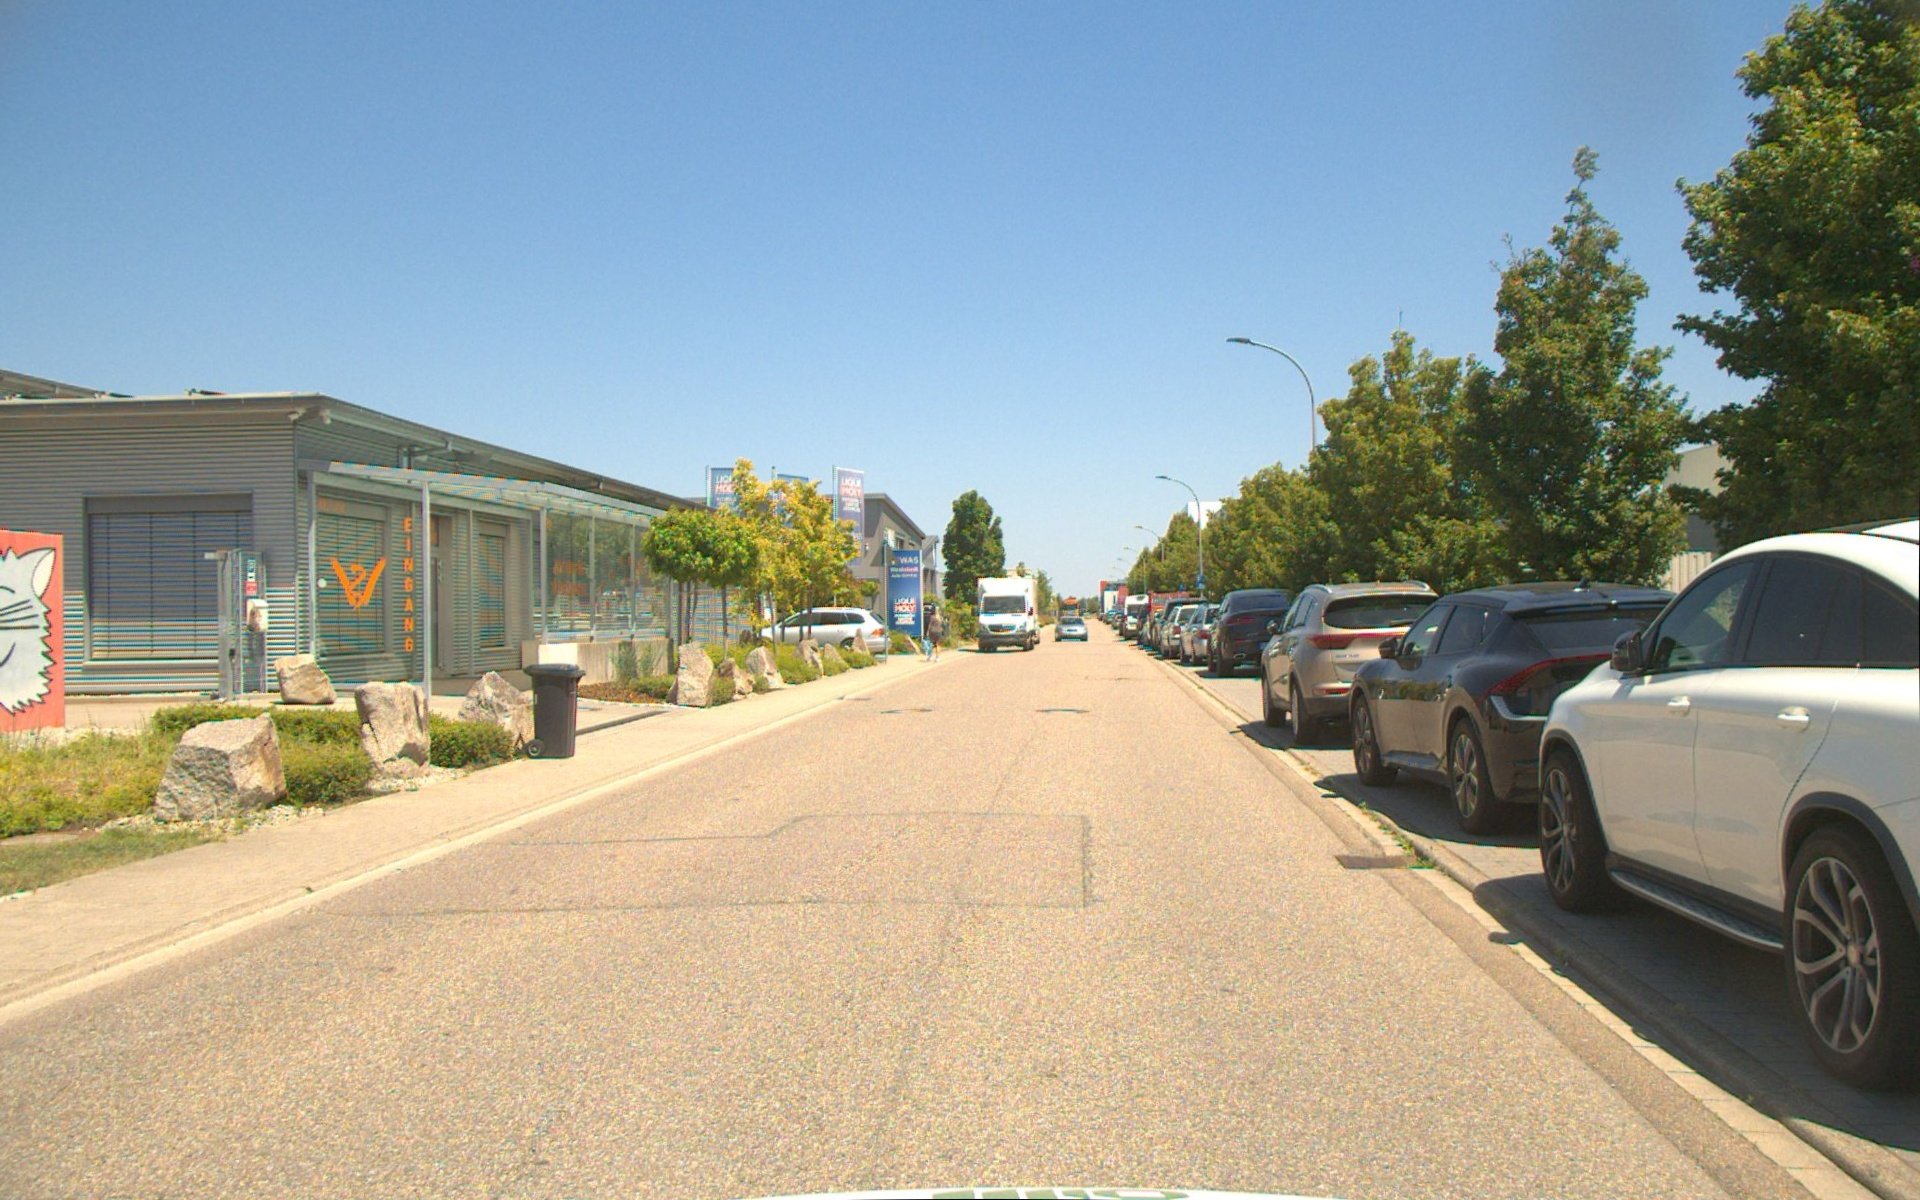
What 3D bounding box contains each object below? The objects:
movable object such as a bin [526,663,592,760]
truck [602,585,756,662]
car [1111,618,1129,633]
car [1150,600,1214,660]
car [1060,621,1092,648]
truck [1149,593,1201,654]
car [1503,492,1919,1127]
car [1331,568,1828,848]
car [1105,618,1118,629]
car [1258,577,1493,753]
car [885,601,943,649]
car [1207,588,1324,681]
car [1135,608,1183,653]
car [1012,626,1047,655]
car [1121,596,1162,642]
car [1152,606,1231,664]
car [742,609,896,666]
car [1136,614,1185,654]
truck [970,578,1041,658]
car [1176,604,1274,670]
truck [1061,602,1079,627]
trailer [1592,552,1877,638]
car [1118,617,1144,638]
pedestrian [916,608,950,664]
[{"bbox_3d":[-4.125,1.136,17.024,0.559,0.966,0.512,0,-1,-1],"label":"movable object such as a bin"},{"bbox_3d":[-13.830,1.139,81.105,7.896,3.619,2.578,0,-1,34],"label":"truck"},{"bbox_3d":[15.709,2.509,162.369,1.682,1.475,3.648,-2,-1,4],"label":"car"},{"bbox_3d":[7.105,0.940,53.353,1.773,1.755,4.776,-3,-1,5],"label":"car"},{"bbox_3d":[6.774,1.996,96.199,1.746,1.447,4.415,-3,-1,4],"label":"car"},{"bbox_3d":[8.393,0.915,64.796,1.644,2.219,4.392,-3,-1,4],"label":"truck"},{"bbox_3d":[3.769,0.541,6.259,2.099,1.728,4.787,-3,-1,4],"label":"car"},{"bbox_3d":[4.137,0.653,11.986,1.865,1.555,4.630,-3,-1,1],"label":"car"},{"bbox_3d":[19.132,2.980,209.577,1.551,1.434,3.502,-1,-1,4],"label":"car"},{"bbox_3d":[4.511,0.665,18.609,1.767,1.664,4.460,-3,-1,4],"label":"car"},{"bbox_3d":[-1.919,1.079,71.160,1.951,1.991,5.220,0,-1,4],"label":"car"},{"bbox_3d":[6.292,0.696,34.561,1.908,1.730,4.547,-3,-1,5],"label":"car"},{"bbox_3d":[8.992,1.383,75.063,1.951,1.918,5.158,-2,-1,5],"label":"car"},{"bbox_3d":[3.664,2.121,86.982,1.693,1.484,4.493,0,-1,4],"label":"car"},{"bbox_3d":[10.563,1.099,96.138,2.219,2.541,6.156,-2,-1,6],"label":"car"},{"bbox_3d":[6.634,0.988,47.807,1.678,1.509,4.774,-3,-1,2],"label":"car"},{"bbox_3d":[-4.042,1.077,47.845,4.172,1.545,1.867,-1,-1,3],"label":"car"},{"bbox_3d":[8.357,1.418,69.209,1.702,1.557,4.001,-3,-1,3],"label":"car"},{"bbox_3d":[1.864,0.734,65.131,2.312,2.910,6.418,-3,-1,5],"label":"truck"},{"bbox_3d":[6.613,0.899,41.721,1.767,1.509,4.774,-3,-1,2],"label":"car"},{"bbox_3d":[16.309,2.075,245.000,2.397,3.574,8.276,-2,0,4],"label":"truck"},{"bbox_3d":[37.771,-0.197,81.010,12.352,3.944,2.805,-1,-2,5],"label":"trailer"},{"bbox_3d":[13.029,2.123,125.992,1.672,1.531,4.709,-1,-1,9],"label":"car"},{"bbox_3d":[-0.786,1.035,47.794,0.880,1.602,0.786,1,-1,5],"label":"pedestrian"}]
